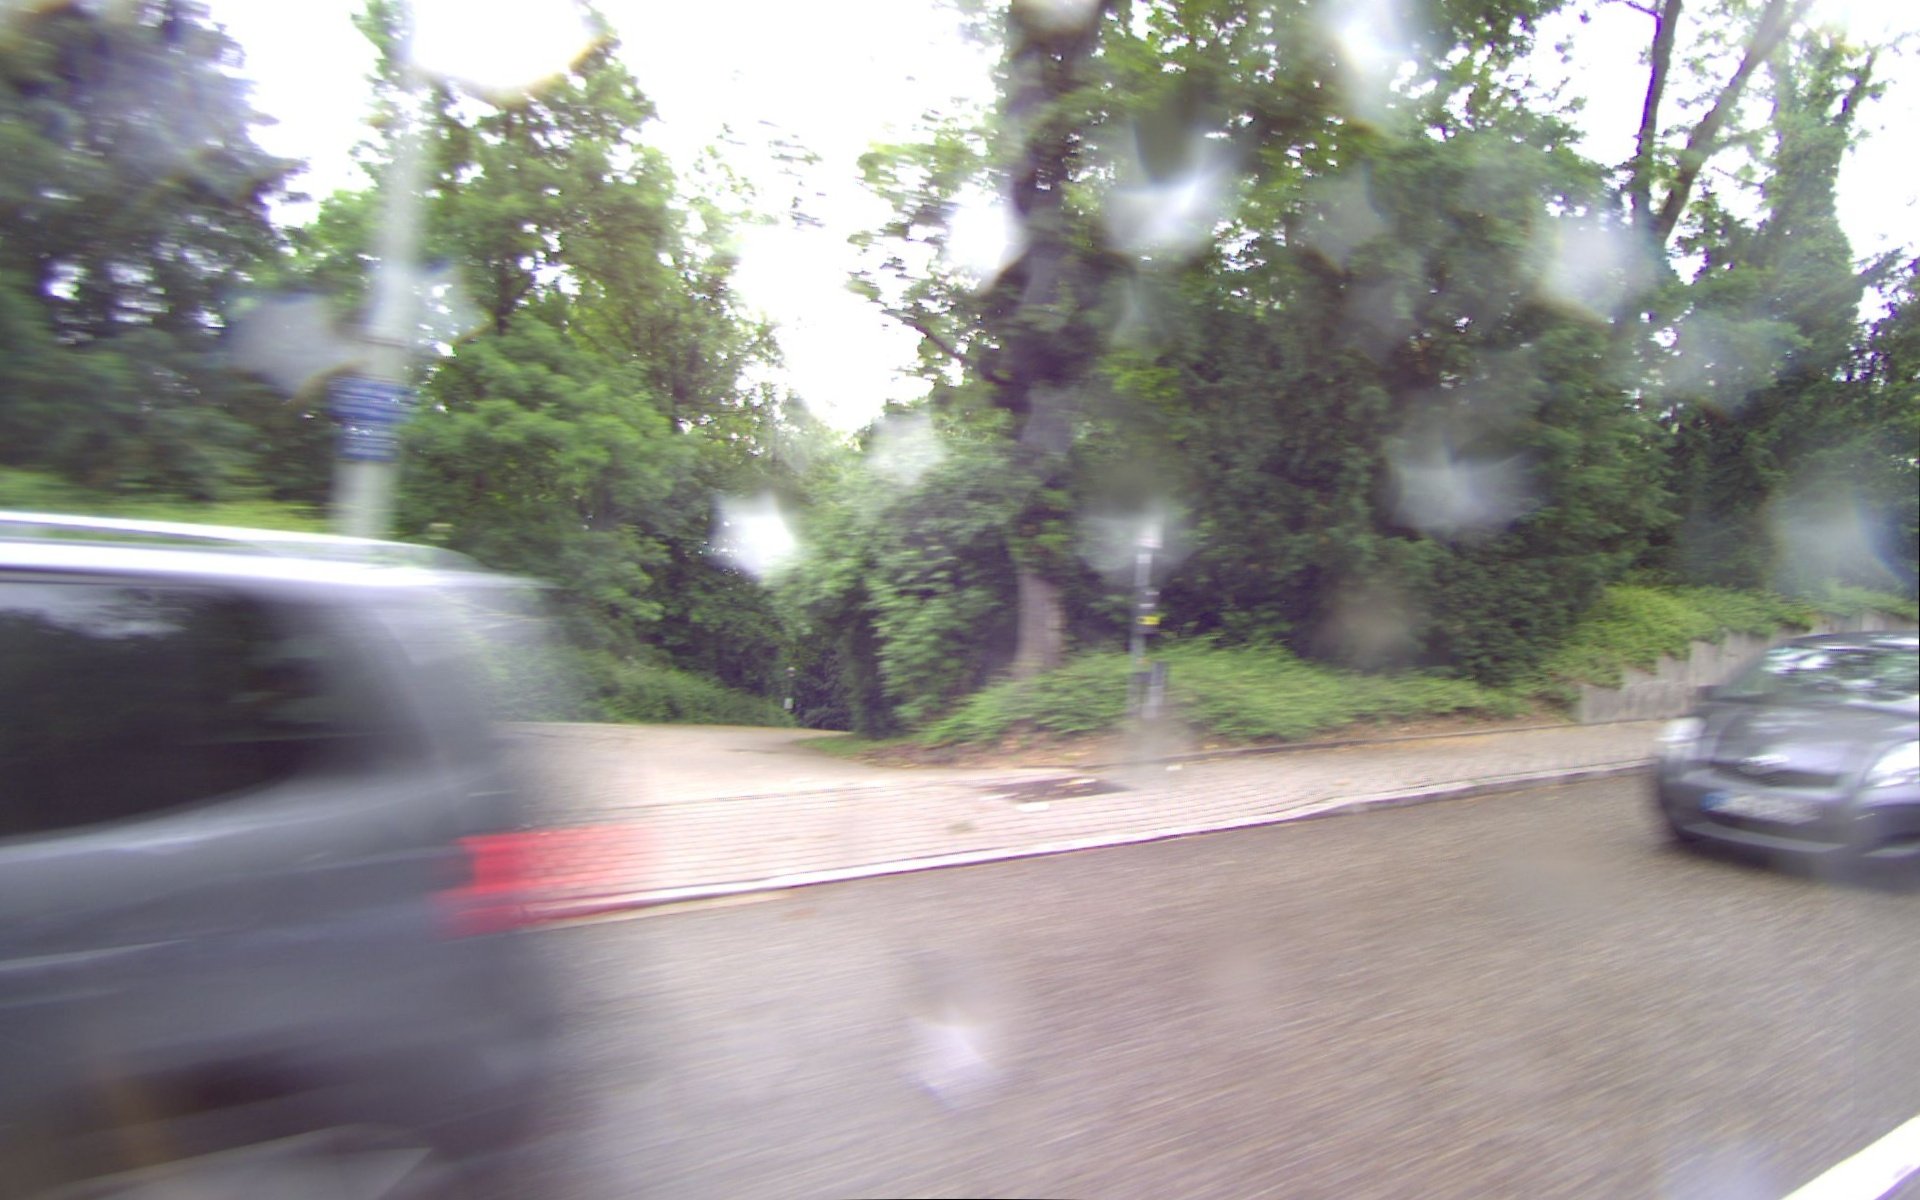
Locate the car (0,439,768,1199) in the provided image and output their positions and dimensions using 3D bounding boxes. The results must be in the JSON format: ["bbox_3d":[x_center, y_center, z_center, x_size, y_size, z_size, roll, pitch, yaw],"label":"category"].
[{"bbox_3d":[-2.577,0.615,1.942,3.955,1.734,1.821,1,-2,-32],"label":"car"}]

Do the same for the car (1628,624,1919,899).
[{"bbox_3d":[6.429,0.944,6.993,3.420,1.516,1.667,1,-2,-31],"label":"car"}]

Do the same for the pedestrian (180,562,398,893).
[{"bbox_3d":[-3.680,0.654,5.544,0.694,1.666,0.713,0,-2,24],"label":"pedestrian"}]
